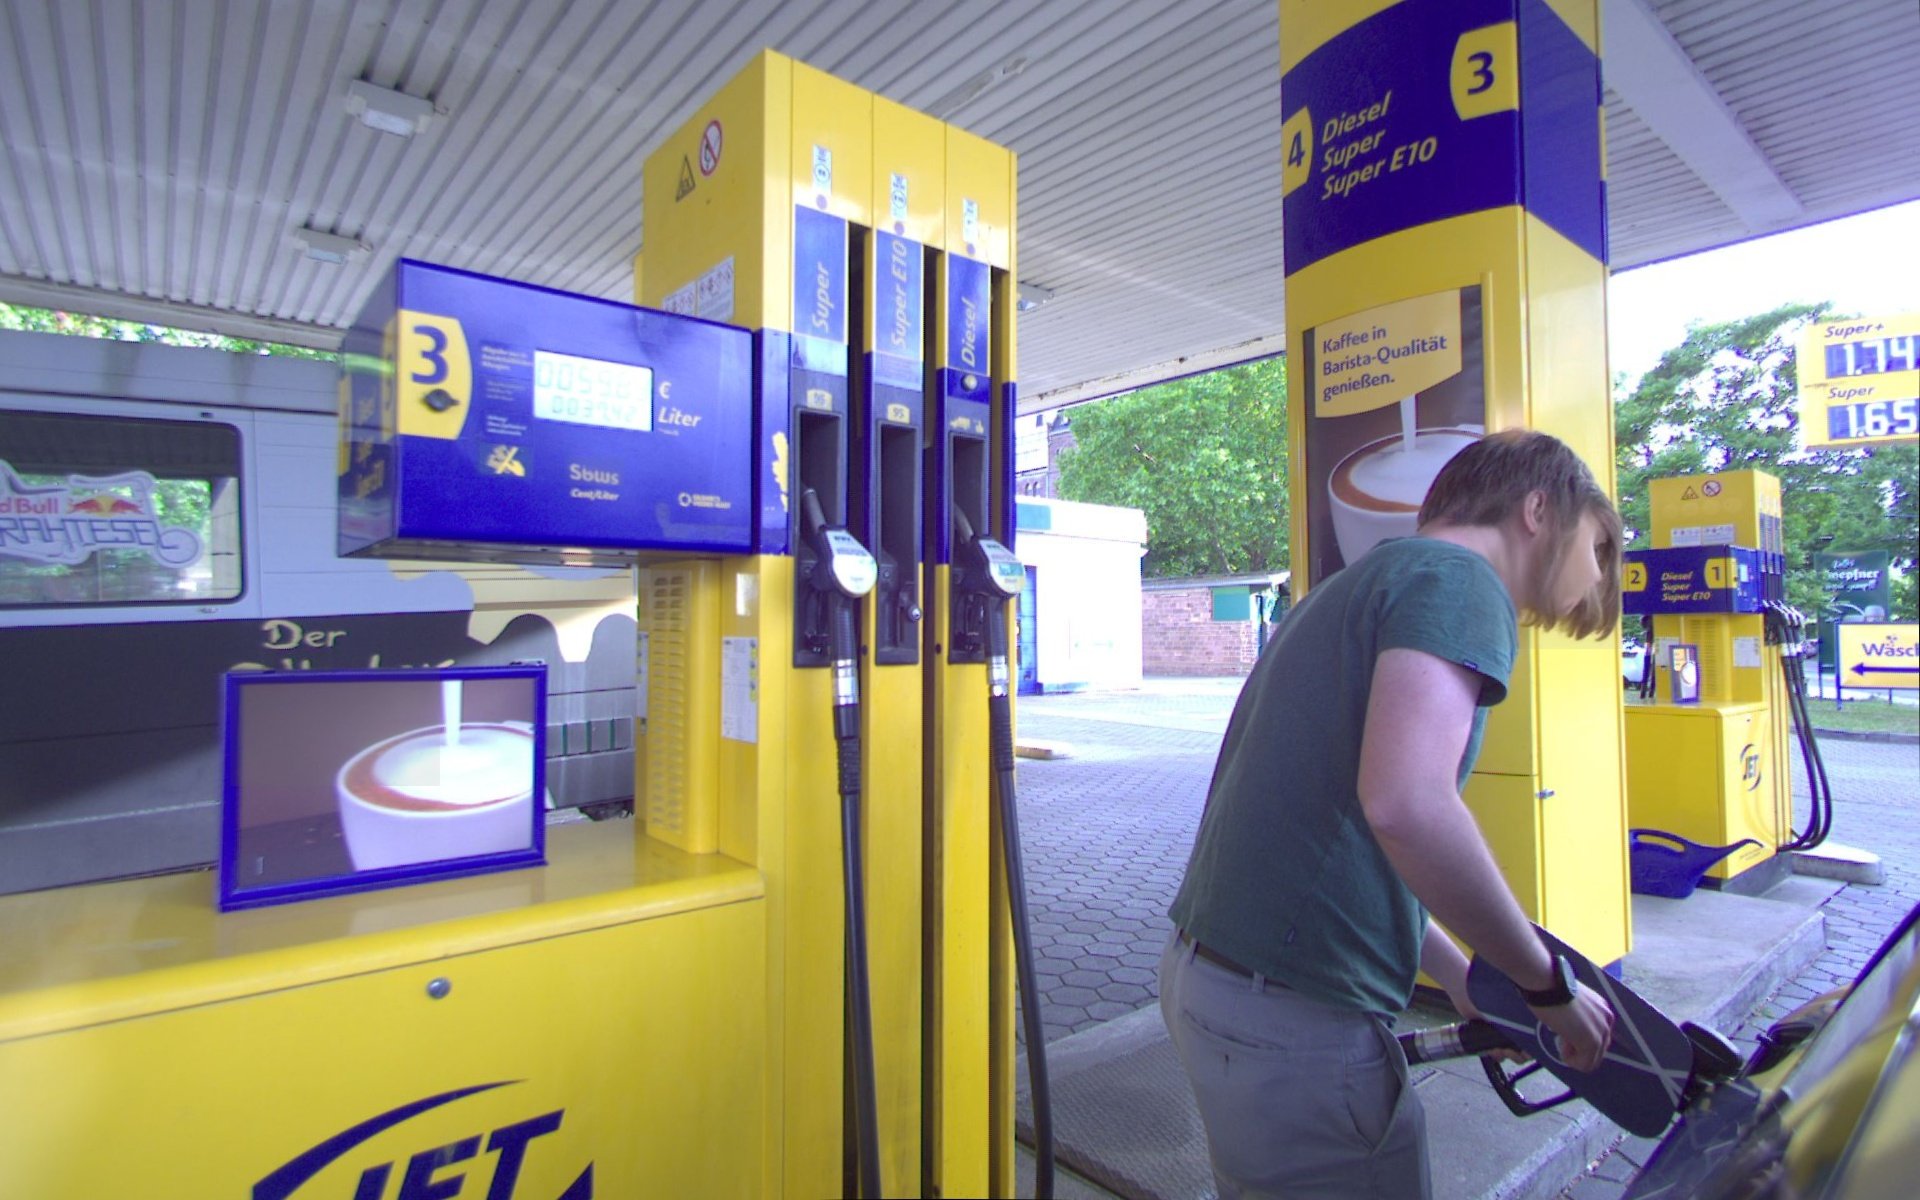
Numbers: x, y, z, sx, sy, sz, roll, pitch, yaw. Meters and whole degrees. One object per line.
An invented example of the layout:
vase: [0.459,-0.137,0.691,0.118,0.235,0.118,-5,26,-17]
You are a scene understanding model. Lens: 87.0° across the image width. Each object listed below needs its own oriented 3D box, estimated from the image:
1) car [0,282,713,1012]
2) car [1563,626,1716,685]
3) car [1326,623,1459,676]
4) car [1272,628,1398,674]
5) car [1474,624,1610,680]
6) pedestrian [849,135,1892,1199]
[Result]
car: [-4.105,0.186,4.855,5.248,2.760,2.201,0,-1,-39]
car: [18.245,1.487,27.135,4.112,1.478,1.826,2,-3,-31]
car: [13.772,1.569,32.170,4.112,1.606,1.826,2,-3,-31]
car: [12.632,1.699,34.033,4.112,1.453,1.826,2,-3,-31]
car: [17.761,1.578,30.851,4.112,1.606,1.826,2,-3,-31]
pedestrian: [0.604,0.509,1.518,1.161,1.750,0.993,-2,1,-38]
